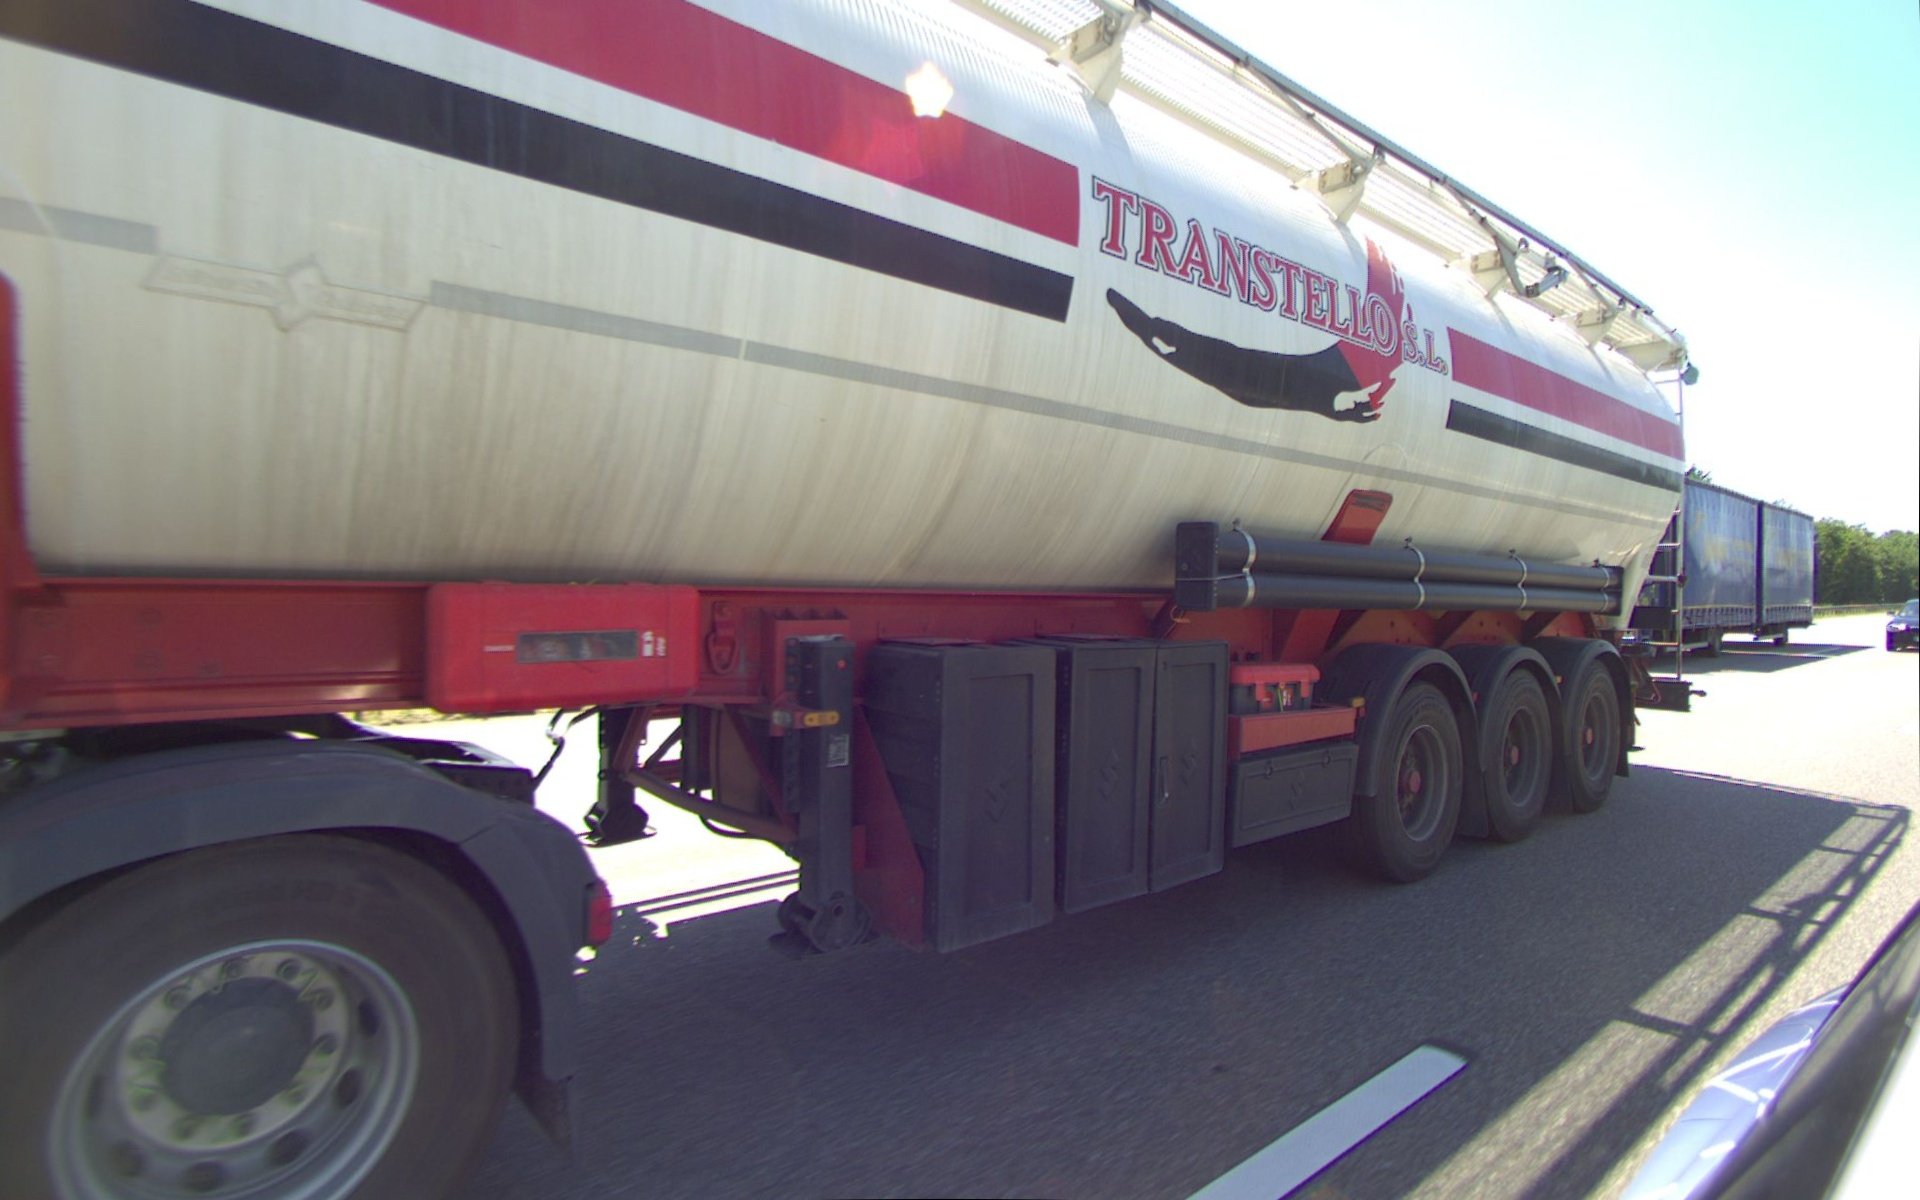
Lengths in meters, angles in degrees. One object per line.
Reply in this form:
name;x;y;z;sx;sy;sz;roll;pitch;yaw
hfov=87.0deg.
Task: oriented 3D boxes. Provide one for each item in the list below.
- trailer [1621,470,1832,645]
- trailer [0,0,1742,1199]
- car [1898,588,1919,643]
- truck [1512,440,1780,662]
trailer;22.374;-1.096;29.193;10.620;4.257;2.795;0;1;-42
trailer;0.969;-0.880;5.626;12.134;4.257;2.796;0;1;-40
car;27.273;0.407;27.786;4.420;1.435;1.839;0;2;-42
truck;16.644;-1.007;24.066;10.622;4.257;2.794;0;1;-42
